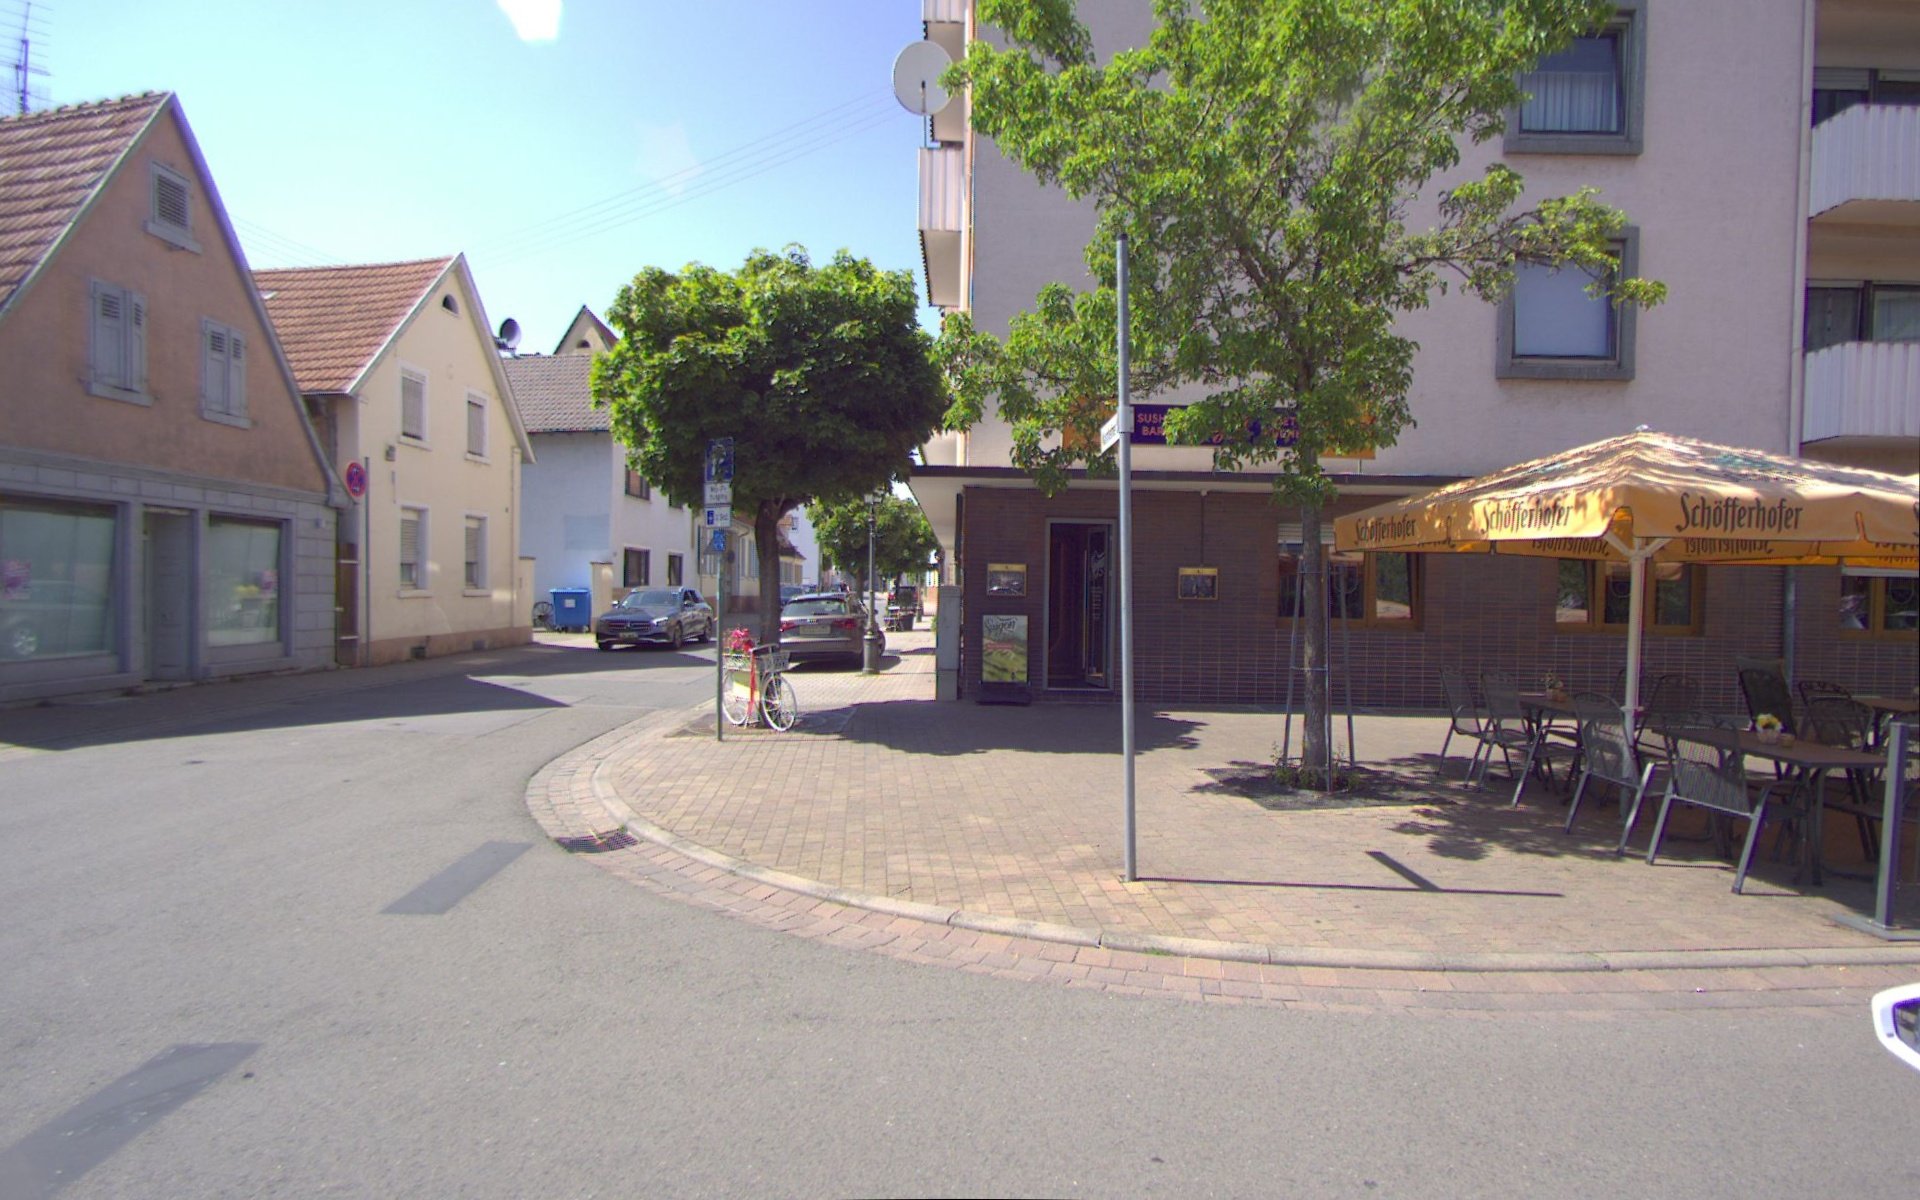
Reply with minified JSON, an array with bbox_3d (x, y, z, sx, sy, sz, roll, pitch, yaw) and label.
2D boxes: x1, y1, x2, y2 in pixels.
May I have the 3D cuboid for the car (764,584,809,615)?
[{"bbox_3d":[-8.691,-0.043,50.685,1.636,1.496,4.133,0,1,-1],"label":"car"}]

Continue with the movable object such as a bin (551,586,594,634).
[{"bbox_3d":[-11.276,0.287,29.244,1.083,1.384,0.390,0,1,3],"label":"movable object such as a bin"}]

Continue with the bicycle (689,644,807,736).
[{"bbox_3d":[-2.367,0.973,11.140,1.391,0.909,0.463,0,1,36],"label":"bicycle"}]

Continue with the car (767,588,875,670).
[{"bbox_3d":[-2.641,0.509,19.753,1.549,1.473,3.486,0,0,1],"label":"car"}]

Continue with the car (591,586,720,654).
[{"bbox_3d":[-7.341,0.438,24.752,1.878,1.501,4.842,0,0,-2],"label":"car"}]

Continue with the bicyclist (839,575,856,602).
[{"bbox_3d":[-7.105,-0.724,63.520,1.030,1.659,1.127,0,1,-6],"label":"bicyclist"}]

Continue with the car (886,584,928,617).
[{"bbox_3d":[-2.794,-0.007,53.612,2.009,1.711,4.840,0,1,-1],"label":"car"}]

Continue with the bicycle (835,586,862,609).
[{"bbox_3d":[-7.068,-0.155,63.662,1.598,1.389,3.921,0,1,-7],"label":"bicycle"}]
